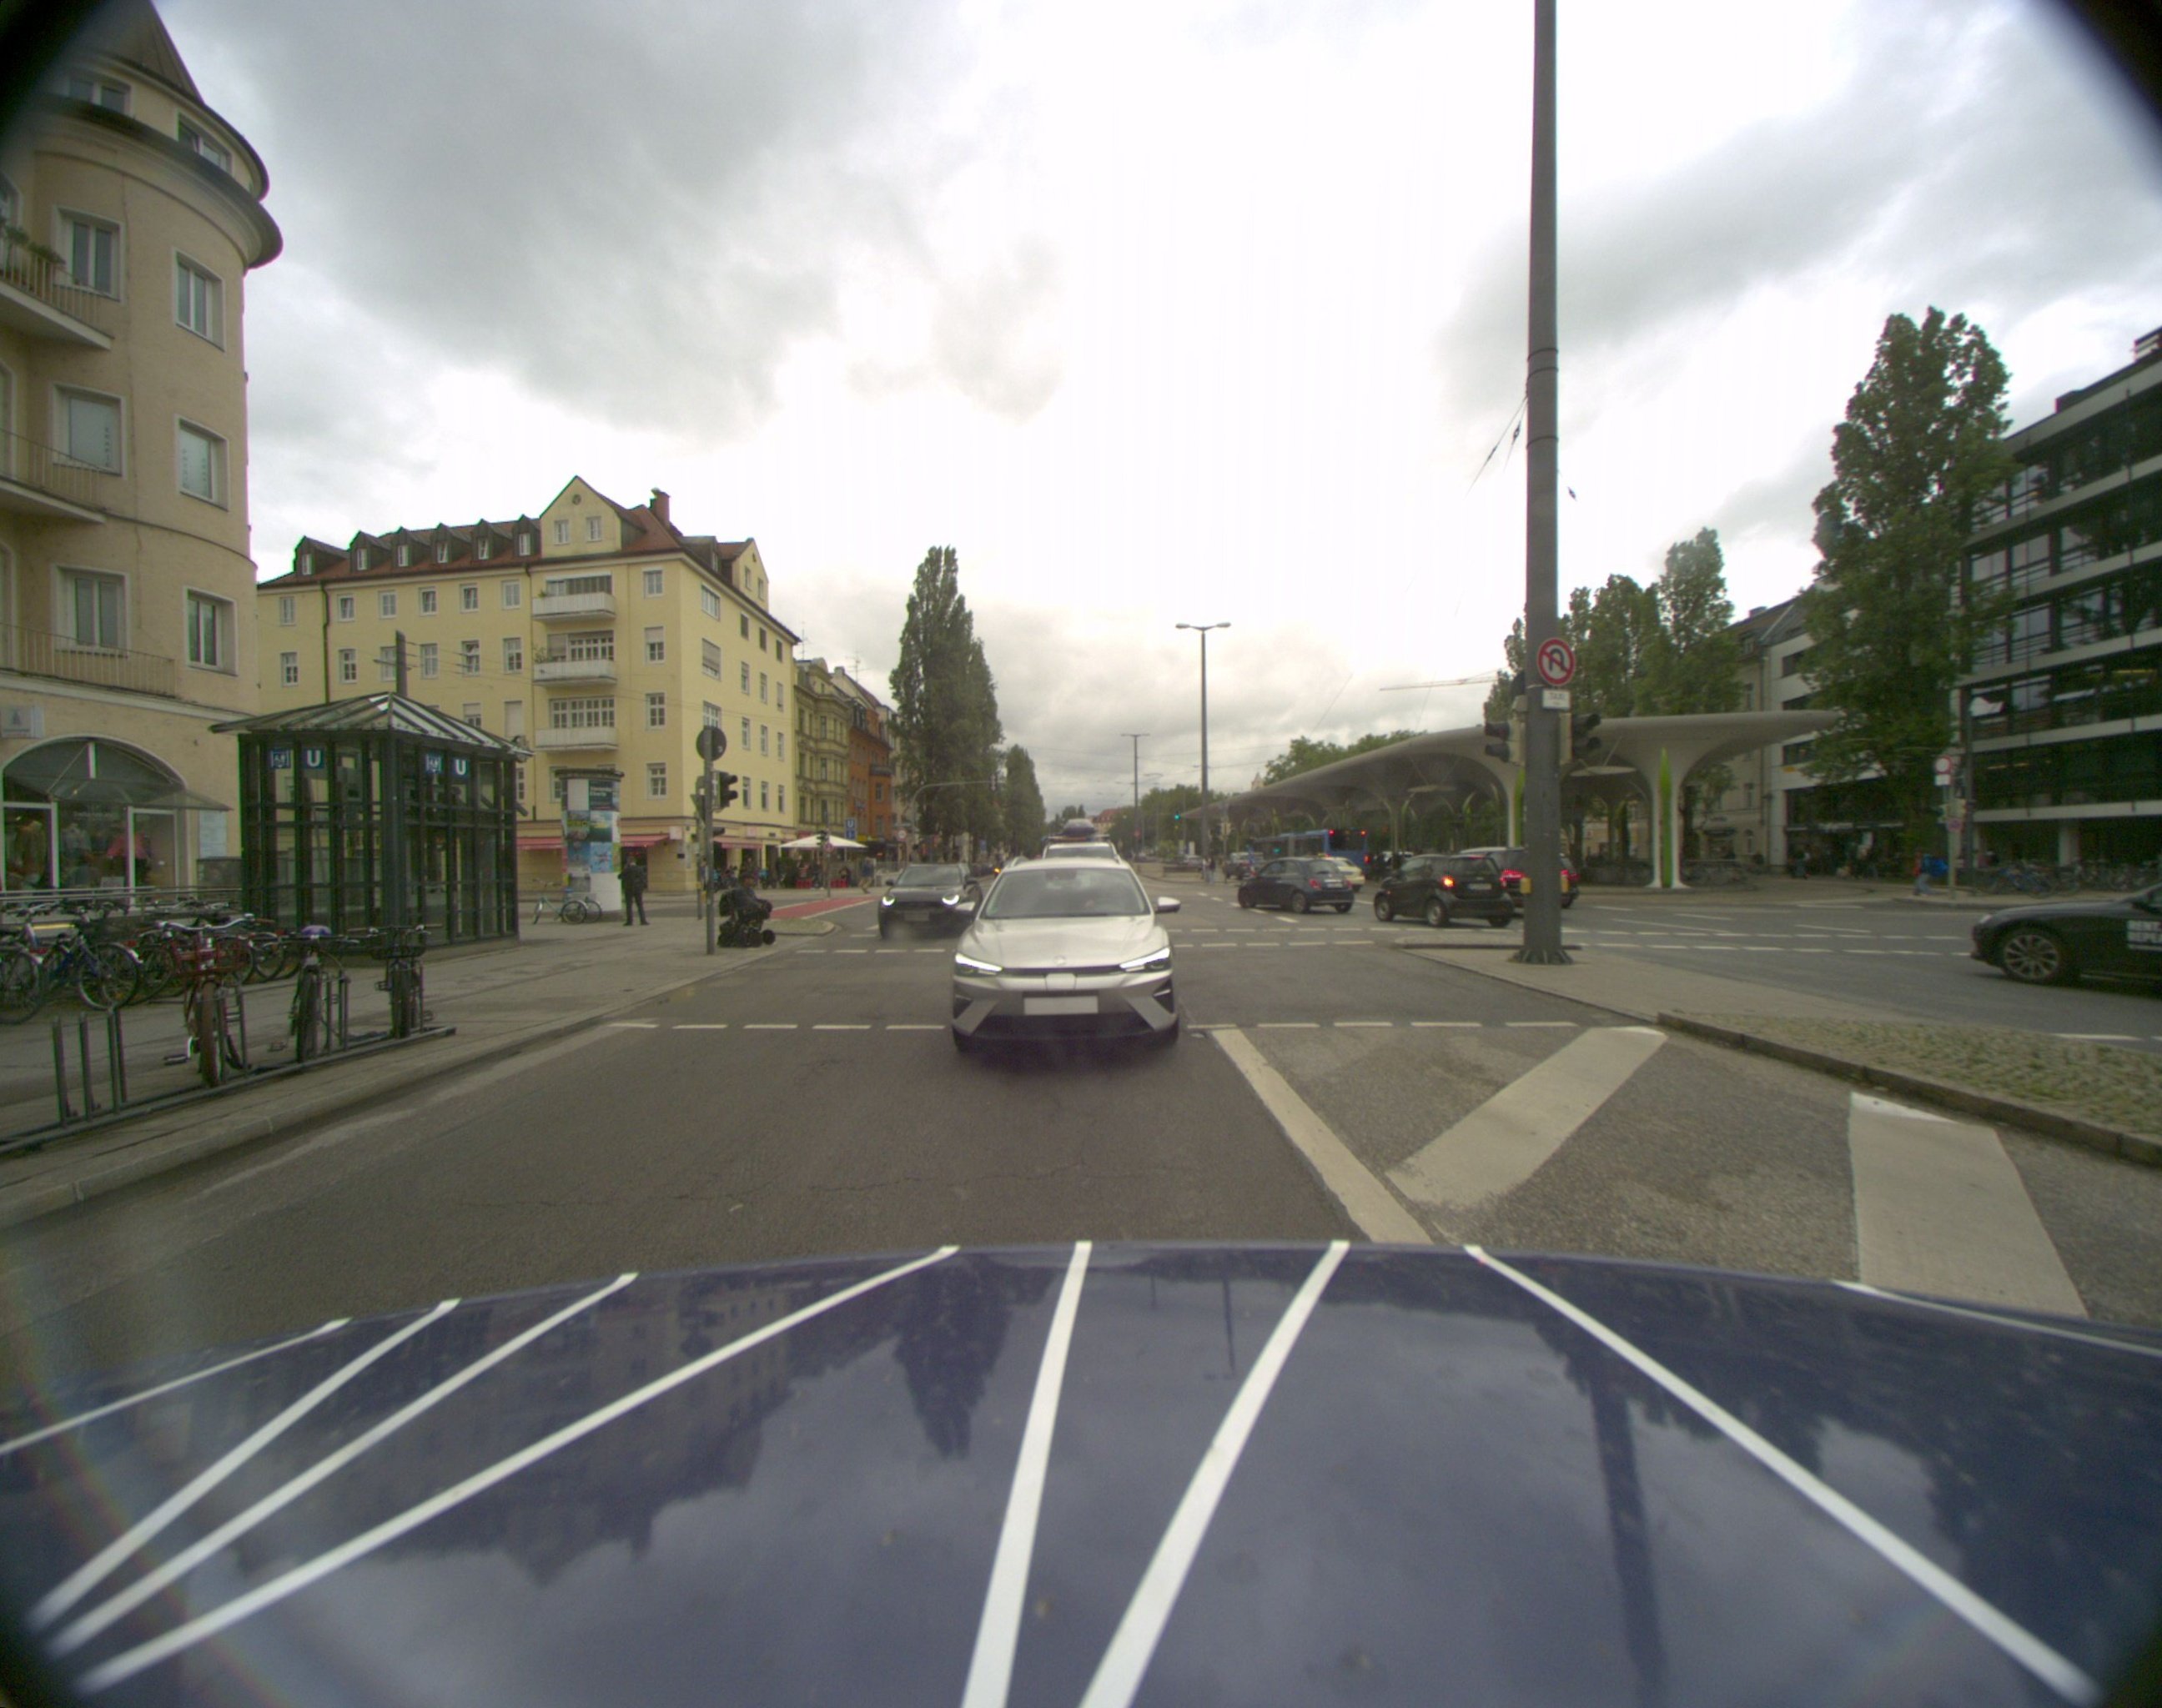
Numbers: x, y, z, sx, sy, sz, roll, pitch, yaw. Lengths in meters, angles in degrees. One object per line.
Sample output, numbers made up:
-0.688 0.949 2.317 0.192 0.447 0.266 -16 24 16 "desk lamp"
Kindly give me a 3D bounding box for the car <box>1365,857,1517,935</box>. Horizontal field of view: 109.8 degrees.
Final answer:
7.643 0.826 16.379 1.562 1.498 2.785 -1 1 -13 "car"

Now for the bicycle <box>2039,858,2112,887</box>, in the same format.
40.850 0.758 31.236 2.073 1.127 0.561 -1 1 5 "bicycle"

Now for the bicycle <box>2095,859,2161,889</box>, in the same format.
40.736 0.784 29.399 2.073 1.127 0.561 -1 1 5 "bicycle"

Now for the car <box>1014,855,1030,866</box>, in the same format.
-8.720 0.934 112.524 1.998 1.630 4.000 -1 0 0 "car"

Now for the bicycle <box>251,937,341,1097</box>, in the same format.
-6.245 1.211 6.020 1.848 1.053 0.398 -5 -1 42 "bicycle"

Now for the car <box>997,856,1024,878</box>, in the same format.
-5.777 1.035 62.593 1.854 1.615 3.999 -2 1 0 "car"

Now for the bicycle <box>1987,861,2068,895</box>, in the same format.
32.262 0.795 25.932 0.473 1.091 1.672 -1 0 -24 "bicycle"

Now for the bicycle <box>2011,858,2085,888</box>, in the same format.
35.928 0.696 28.252 0.474 1.091 1.671 -1 0 -34 "bicycle"

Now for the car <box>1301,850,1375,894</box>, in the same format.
10.786 0.695 32.146 1.760 1.674 3.999 -2 1 1 "car"

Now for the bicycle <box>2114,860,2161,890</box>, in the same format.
40.694 0.792 28.816 2.073 1.127 0.561 -1 1 5 "bicycle"

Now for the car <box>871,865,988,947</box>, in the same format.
-3.142 1.026 16.588 1.740 1.461 4.050 -1 0 -1 "car"

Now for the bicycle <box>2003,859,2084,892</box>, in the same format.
33.554 0.738 26.515 0.473 1.091 1.672 -1 0 -24 "bicycle"

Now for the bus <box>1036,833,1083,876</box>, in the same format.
-1.842 -0.013 59.174 2.943 2.927 11.207 -2 1 -5 "bus"

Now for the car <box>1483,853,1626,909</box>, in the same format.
14.427 0.759 23.445 1.932 1.575 4.000 -1 0 0 "car"

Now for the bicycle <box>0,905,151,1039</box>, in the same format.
-10.741 1.150 7.534 2.317 1.220 0.628 -1 1 2 "bicycle"

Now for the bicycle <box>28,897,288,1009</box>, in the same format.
-10.684 1.132 8.831 2.317 1.220 0.628 -1 1 2 "bicycle"

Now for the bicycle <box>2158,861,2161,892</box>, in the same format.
40.570 0.813 27.535 2.073 1.127 0.561 -1 1 5 "bicycle"

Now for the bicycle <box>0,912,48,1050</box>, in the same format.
-10.875 1.163 6.855 2.317 1.220 0.628 -1 1 2 "bicycle"

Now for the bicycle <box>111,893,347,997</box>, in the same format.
-10.666 1.123 9.549 2.317 1.220 0.628 -1 1 2 "bicycle"

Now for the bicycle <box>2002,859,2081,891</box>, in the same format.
34.089 0.712 26.990 0.473 1.091 1.672 -1 0 -24 "bicycle"

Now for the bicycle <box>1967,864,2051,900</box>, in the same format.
30.202 0.888 24.749 0.473 1.091 1.672 -1 0 -24 "bicycle"

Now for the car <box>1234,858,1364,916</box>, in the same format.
5.907 0.850 20.980 1.630 1.471 3.381 0 0 -25 "car"

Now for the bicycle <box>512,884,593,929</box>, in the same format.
-13.491 1.322 19.395 1.822 1.121 0.610 -1 -1 12 "bicycle"

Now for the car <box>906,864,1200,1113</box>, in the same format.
-0.157 0.923 7.036 1.896 1.483 3.999 -2 1 1 "car"

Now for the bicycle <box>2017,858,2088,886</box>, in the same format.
40.861 0.748 31.973 2.073 1.127 0.561 -1 1 5 "bicycle"

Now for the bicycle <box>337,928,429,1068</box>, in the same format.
-6.189 1.204 6.706 1.848 1.053 0.398 -5 -1 42 "bicycle"

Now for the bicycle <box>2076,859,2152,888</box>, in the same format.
40.772 0.775 30.004 2.073 1.127 0.561 -1 1 5 "bicycle"

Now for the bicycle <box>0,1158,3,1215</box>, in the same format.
-6.040 1.184 3.923 1.780 1.131 0.479 -2 1 34 "bicycle"

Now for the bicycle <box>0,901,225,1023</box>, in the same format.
-10.686 1.140 8.168 2.317 1.220 0.628 -1 1 2 "bicycle"

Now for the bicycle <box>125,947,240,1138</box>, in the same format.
-6.159 1.206 5.255 1.848 1.053 0.398 -5 -1 42 "bicycle"

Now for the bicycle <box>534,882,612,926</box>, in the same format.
-13.401 1.311 20.043 1.822 1.121 0.610 -1 -1 12 "bicycle"

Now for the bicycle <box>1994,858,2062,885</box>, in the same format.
40.870 0.738 32.814 2.073 1.127 0.561 -1 1 5 "bicycle"

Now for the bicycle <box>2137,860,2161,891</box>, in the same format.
40.643 0.802 28.147 2.073 1.127 0.561 -1 1 5 "bicycle"

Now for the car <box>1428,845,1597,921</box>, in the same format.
11.043 0.655 19.874 1.998 1.762 4.306 1 1 1 "car"

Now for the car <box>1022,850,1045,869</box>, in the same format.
-4.735 0.530 76.740 1.998 1.740 3.999 -2 1 0 "car"

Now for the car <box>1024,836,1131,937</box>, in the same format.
-0.061 0.606 16.861 1.998 1.889 4.235 -2 1 0 "car"

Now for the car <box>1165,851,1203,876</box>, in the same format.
6.676 0.605 49.571 1.922 1.461 3.999 -2 1 1 "car"

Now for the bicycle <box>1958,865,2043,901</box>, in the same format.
29.475 0.921 24.393 0.473 1.091 1.672 -1 0 -24 "bicycle"

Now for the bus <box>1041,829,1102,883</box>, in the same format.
-0.834 0.082 48.037 2.943 2.927 11.207 -2 1 -5 "bus"

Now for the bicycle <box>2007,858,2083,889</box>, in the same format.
34.881 0.691 27.520 0.474 1.091 1.671 -1 0 -34 "bicycle"

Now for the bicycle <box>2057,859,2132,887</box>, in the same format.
40.829 0.766 30.616 2.073 1.127 0.561 -1 1 5 "bicycle"

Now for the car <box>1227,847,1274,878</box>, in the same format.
9.993 0.486 45.039 1.847 1.674 3.999 -2 1 1 "car"
